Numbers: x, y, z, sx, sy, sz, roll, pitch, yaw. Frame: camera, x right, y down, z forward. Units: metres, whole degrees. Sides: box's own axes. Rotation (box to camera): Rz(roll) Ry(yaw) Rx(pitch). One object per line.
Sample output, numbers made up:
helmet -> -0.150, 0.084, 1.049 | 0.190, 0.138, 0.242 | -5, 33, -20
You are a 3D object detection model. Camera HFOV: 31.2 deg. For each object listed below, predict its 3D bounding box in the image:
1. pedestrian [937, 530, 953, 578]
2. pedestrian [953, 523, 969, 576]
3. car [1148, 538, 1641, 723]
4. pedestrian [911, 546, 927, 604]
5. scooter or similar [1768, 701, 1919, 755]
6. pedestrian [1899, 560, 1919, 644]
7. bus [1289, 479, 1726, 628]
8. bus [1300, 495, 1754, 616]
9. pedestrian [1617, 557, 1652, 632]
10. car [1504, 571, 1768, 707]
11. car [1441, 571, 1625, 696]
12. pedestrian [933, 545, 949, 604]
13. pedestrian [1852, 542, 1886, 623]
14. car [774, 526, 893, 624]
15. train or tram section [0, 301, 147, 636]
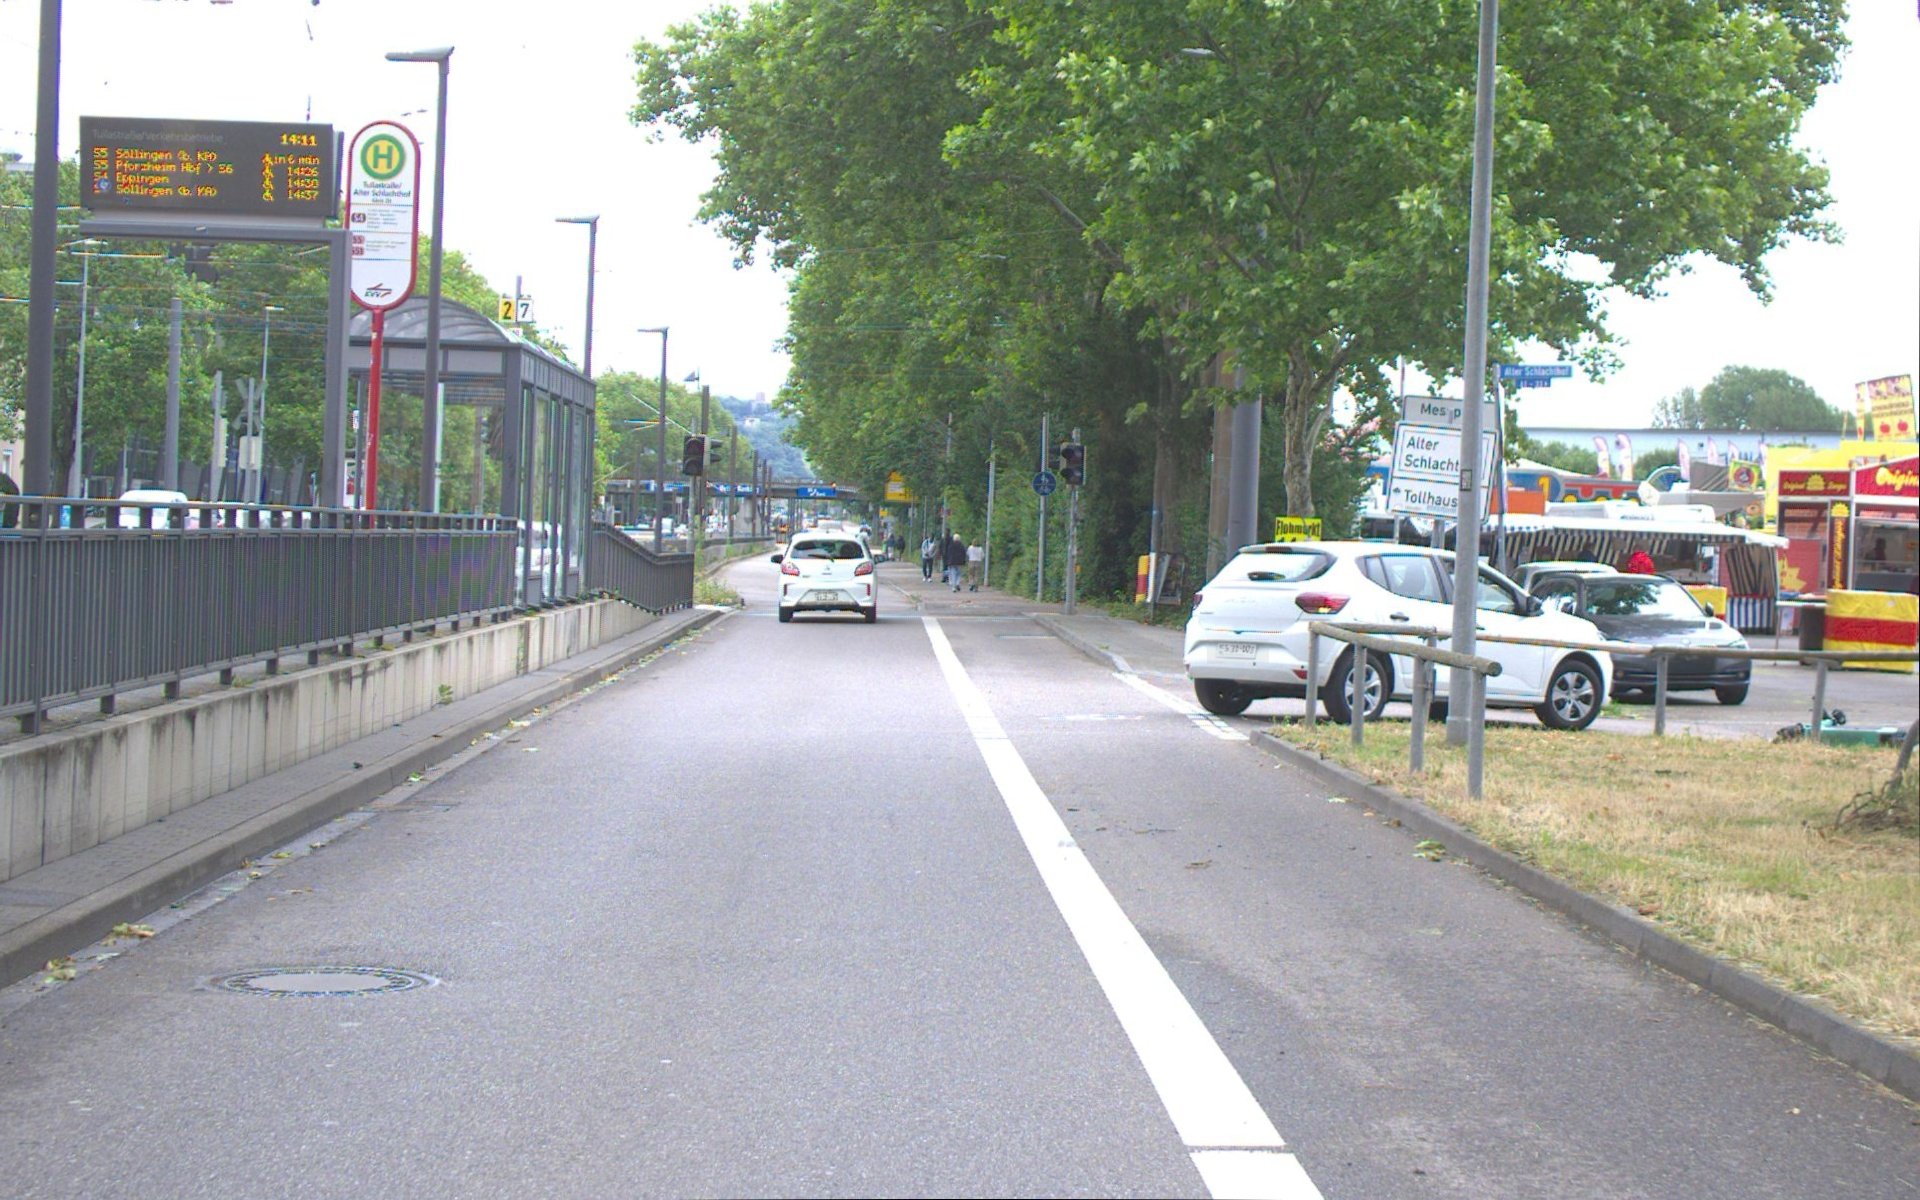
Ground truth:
pedestrian -> -0.457, -1.388, 104.578 | 0.396, 1.439, 0.563 | 2, 0, -3
pedestrian -> 0.034, -1.538, 104.579 | 0.396, 1.580, 0.538 | 2, 0, -3
car -> 3.743, 0.272, 29.321 | 3.988, 1.448, 1.891 | 2, 1, -39
pedestrian -> -1.412, -0.862, 118.817 | 0.396, 2.007, 0.402 | 2, 0, 14
scooter or similar -> 7.292, 1.037, 28.009 | 1.178, 0.348, 1.329 | 1, 1, 23
pedestrian -> 19.273, 0.042, 69.143 | 0.522, 1.681, 0.494 | 2, 0, -18
bus -> 12.127, -1.024, 76.424 | 9.276, 2.949, 2.000 | 2, 0, -4
bus -> 12.053, -0.950, 73.376 | 9.276, 2.220, 2.000 | 2, 0, -4
pedestrian -> 13.161, -0.111, 67.067 | 0.492, 1.458, 0.524 | 2, 0, -4
car -> 7.771, 0.416, 39.882 | 1.862, 1.425, 4.001 | 2, 1, -6
car -> 7.903, 0.429, 47.734 | 1.863, 1.589, 4.000 | 2, 0, 0
pedestrian -> -0.649, -0.889, 118.726 | 0.396, 2.007, 0.402 | 2, 0, 14
pedestrian -> 19.152, -0.375, 72.416 | 0.492, 1.681, 0.524 | 2, 0, -4
car -> -2.094, -0.437, 57.898 | 1.841, 1.546, 4.000 | 2, 1, 0
train or tram section -> -13.622, -1.697, 44.072 | 3.180, 4.164, 14.735 | 2, 1, -2
